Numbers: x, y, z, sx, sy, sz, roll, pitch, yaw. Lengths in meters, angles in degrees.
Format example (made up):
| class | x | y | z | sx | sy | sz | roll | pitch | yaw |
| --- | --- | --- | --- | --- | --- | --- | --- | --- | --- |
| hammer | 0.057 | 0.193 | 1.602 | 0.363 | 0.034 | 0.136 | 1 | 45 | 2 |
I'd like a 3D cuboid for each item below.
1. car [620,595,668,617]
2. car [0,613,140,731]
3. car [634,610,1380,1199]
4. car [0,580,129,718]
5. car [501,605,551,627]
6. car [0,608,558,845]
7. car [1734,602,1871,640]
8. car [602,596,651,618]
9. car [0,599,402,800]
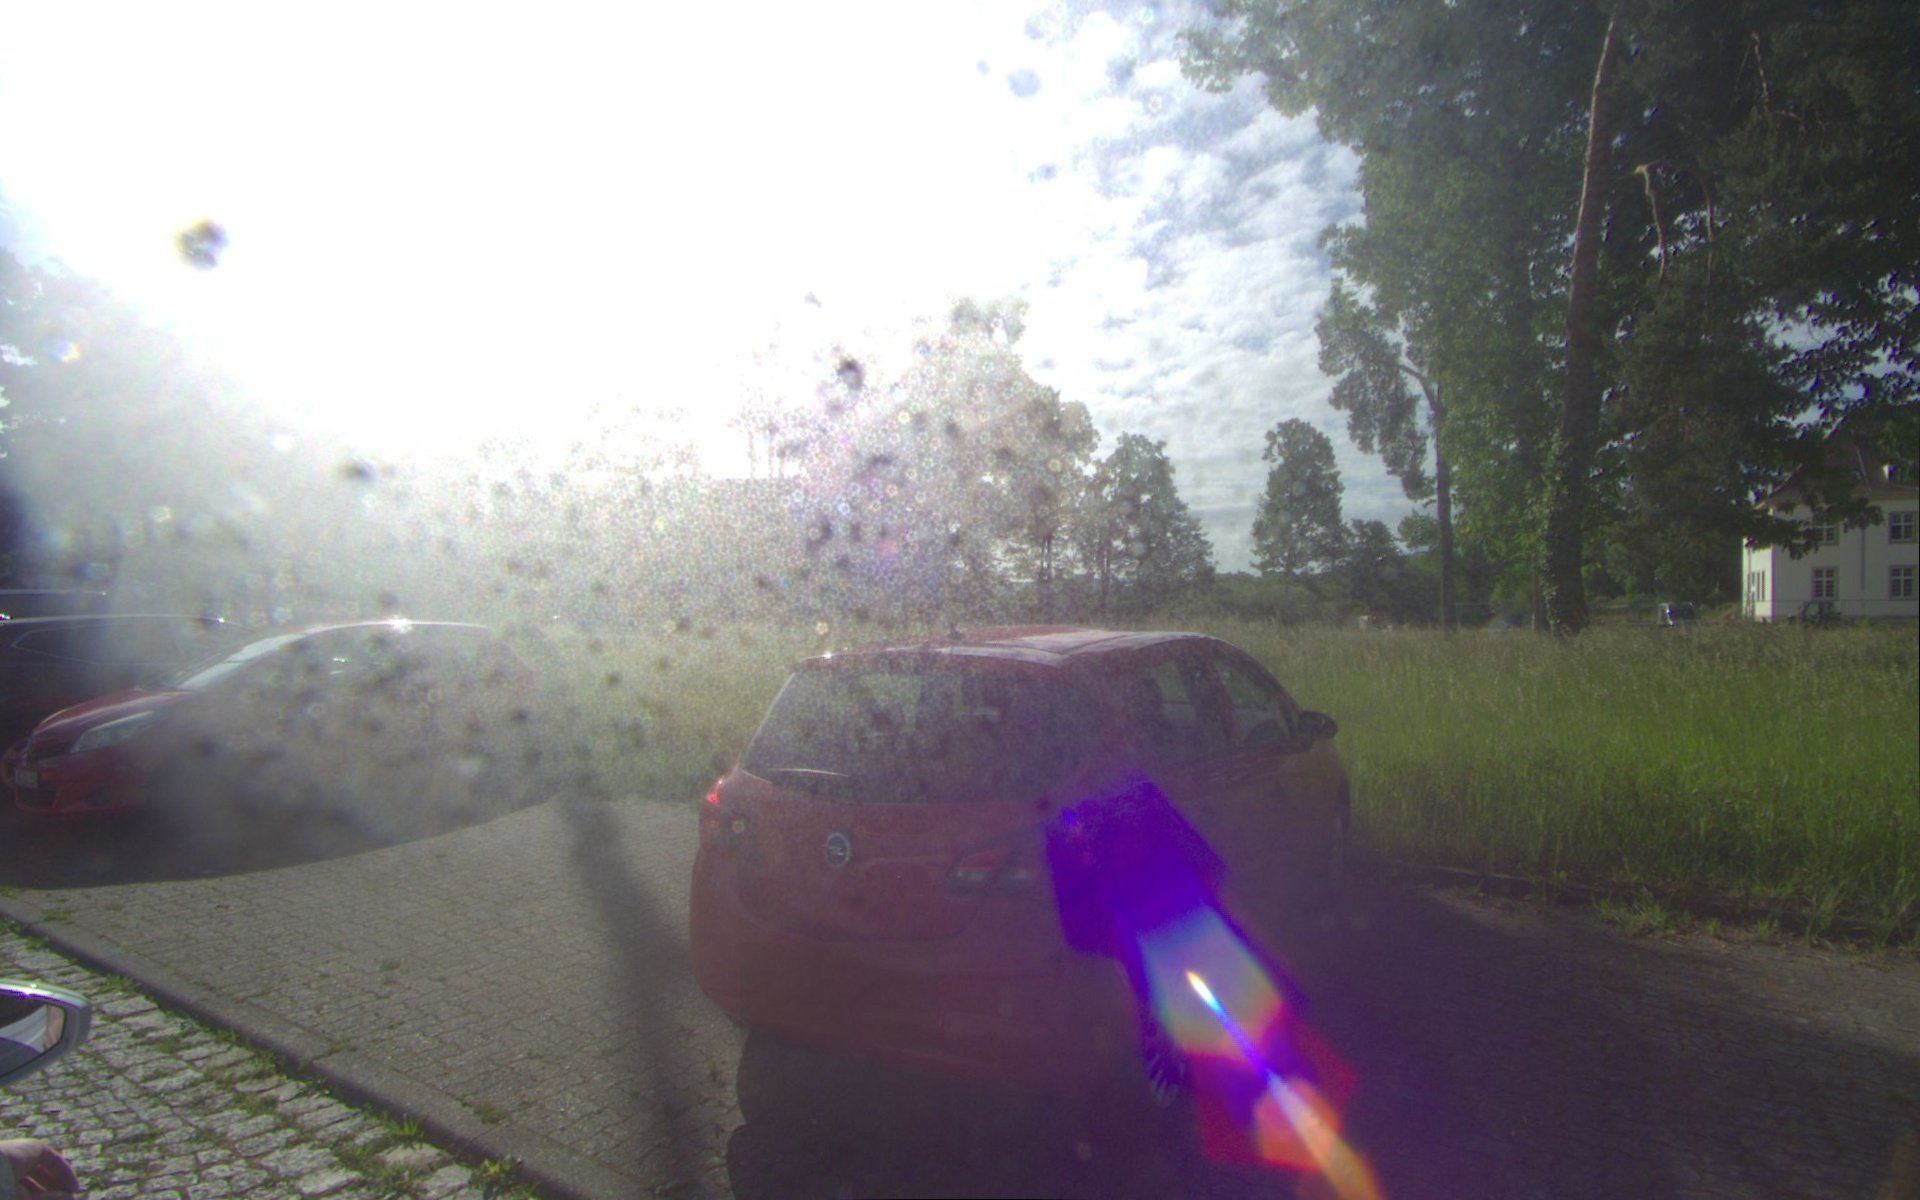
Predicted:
| class | x | y | z | sx | sy | sz | roll | pitch | yaw |
| --- | --- | --- | --- | --- | --- | --- | --- | --- | --- |
| car | -29.233 | 0.561 | 92.666 | 1.971 | 2.040 | 3.979 | 0 | 0 | 32 |
| car | -13.328 | 0.956 | 13.083 | 1.621 | 1.508 | 3.713 | 0 | 0 | 30 |
| car | 0.651 | 0.821 | 4.397 | 1.622 | 1.498 | 3.819 | 0 | 0 | 32 |
| car | -15.457 | 0.717 | 14.656 | 2.052 | 2.040 | 4.671 | 0 | 0 | 29 |
| car | -41.345 | 1.470 | 95.385 | 1.971 | 2.040 | 3.979 | 0 | 0 | 32 |
| car | -5.579 | 0.848 | 8.580 | 1.622 | 1.550 | 3.755 | 0 | 0 | 32 |
| car | 50.913 | 1.308 | 60.645 | 2.345 | 2.199 | 5.976 | 0 | -2 | -35 |
| car | -31.119 | 0.646 | 93.571 | 1.971 | 2.040 | 3.979 | 0 | 0 | 32 |
| car | -7.904 | 0.831 | 9.822 | 1.746 | 1.643 | 3.929 | 0 | 0 | 31 |
